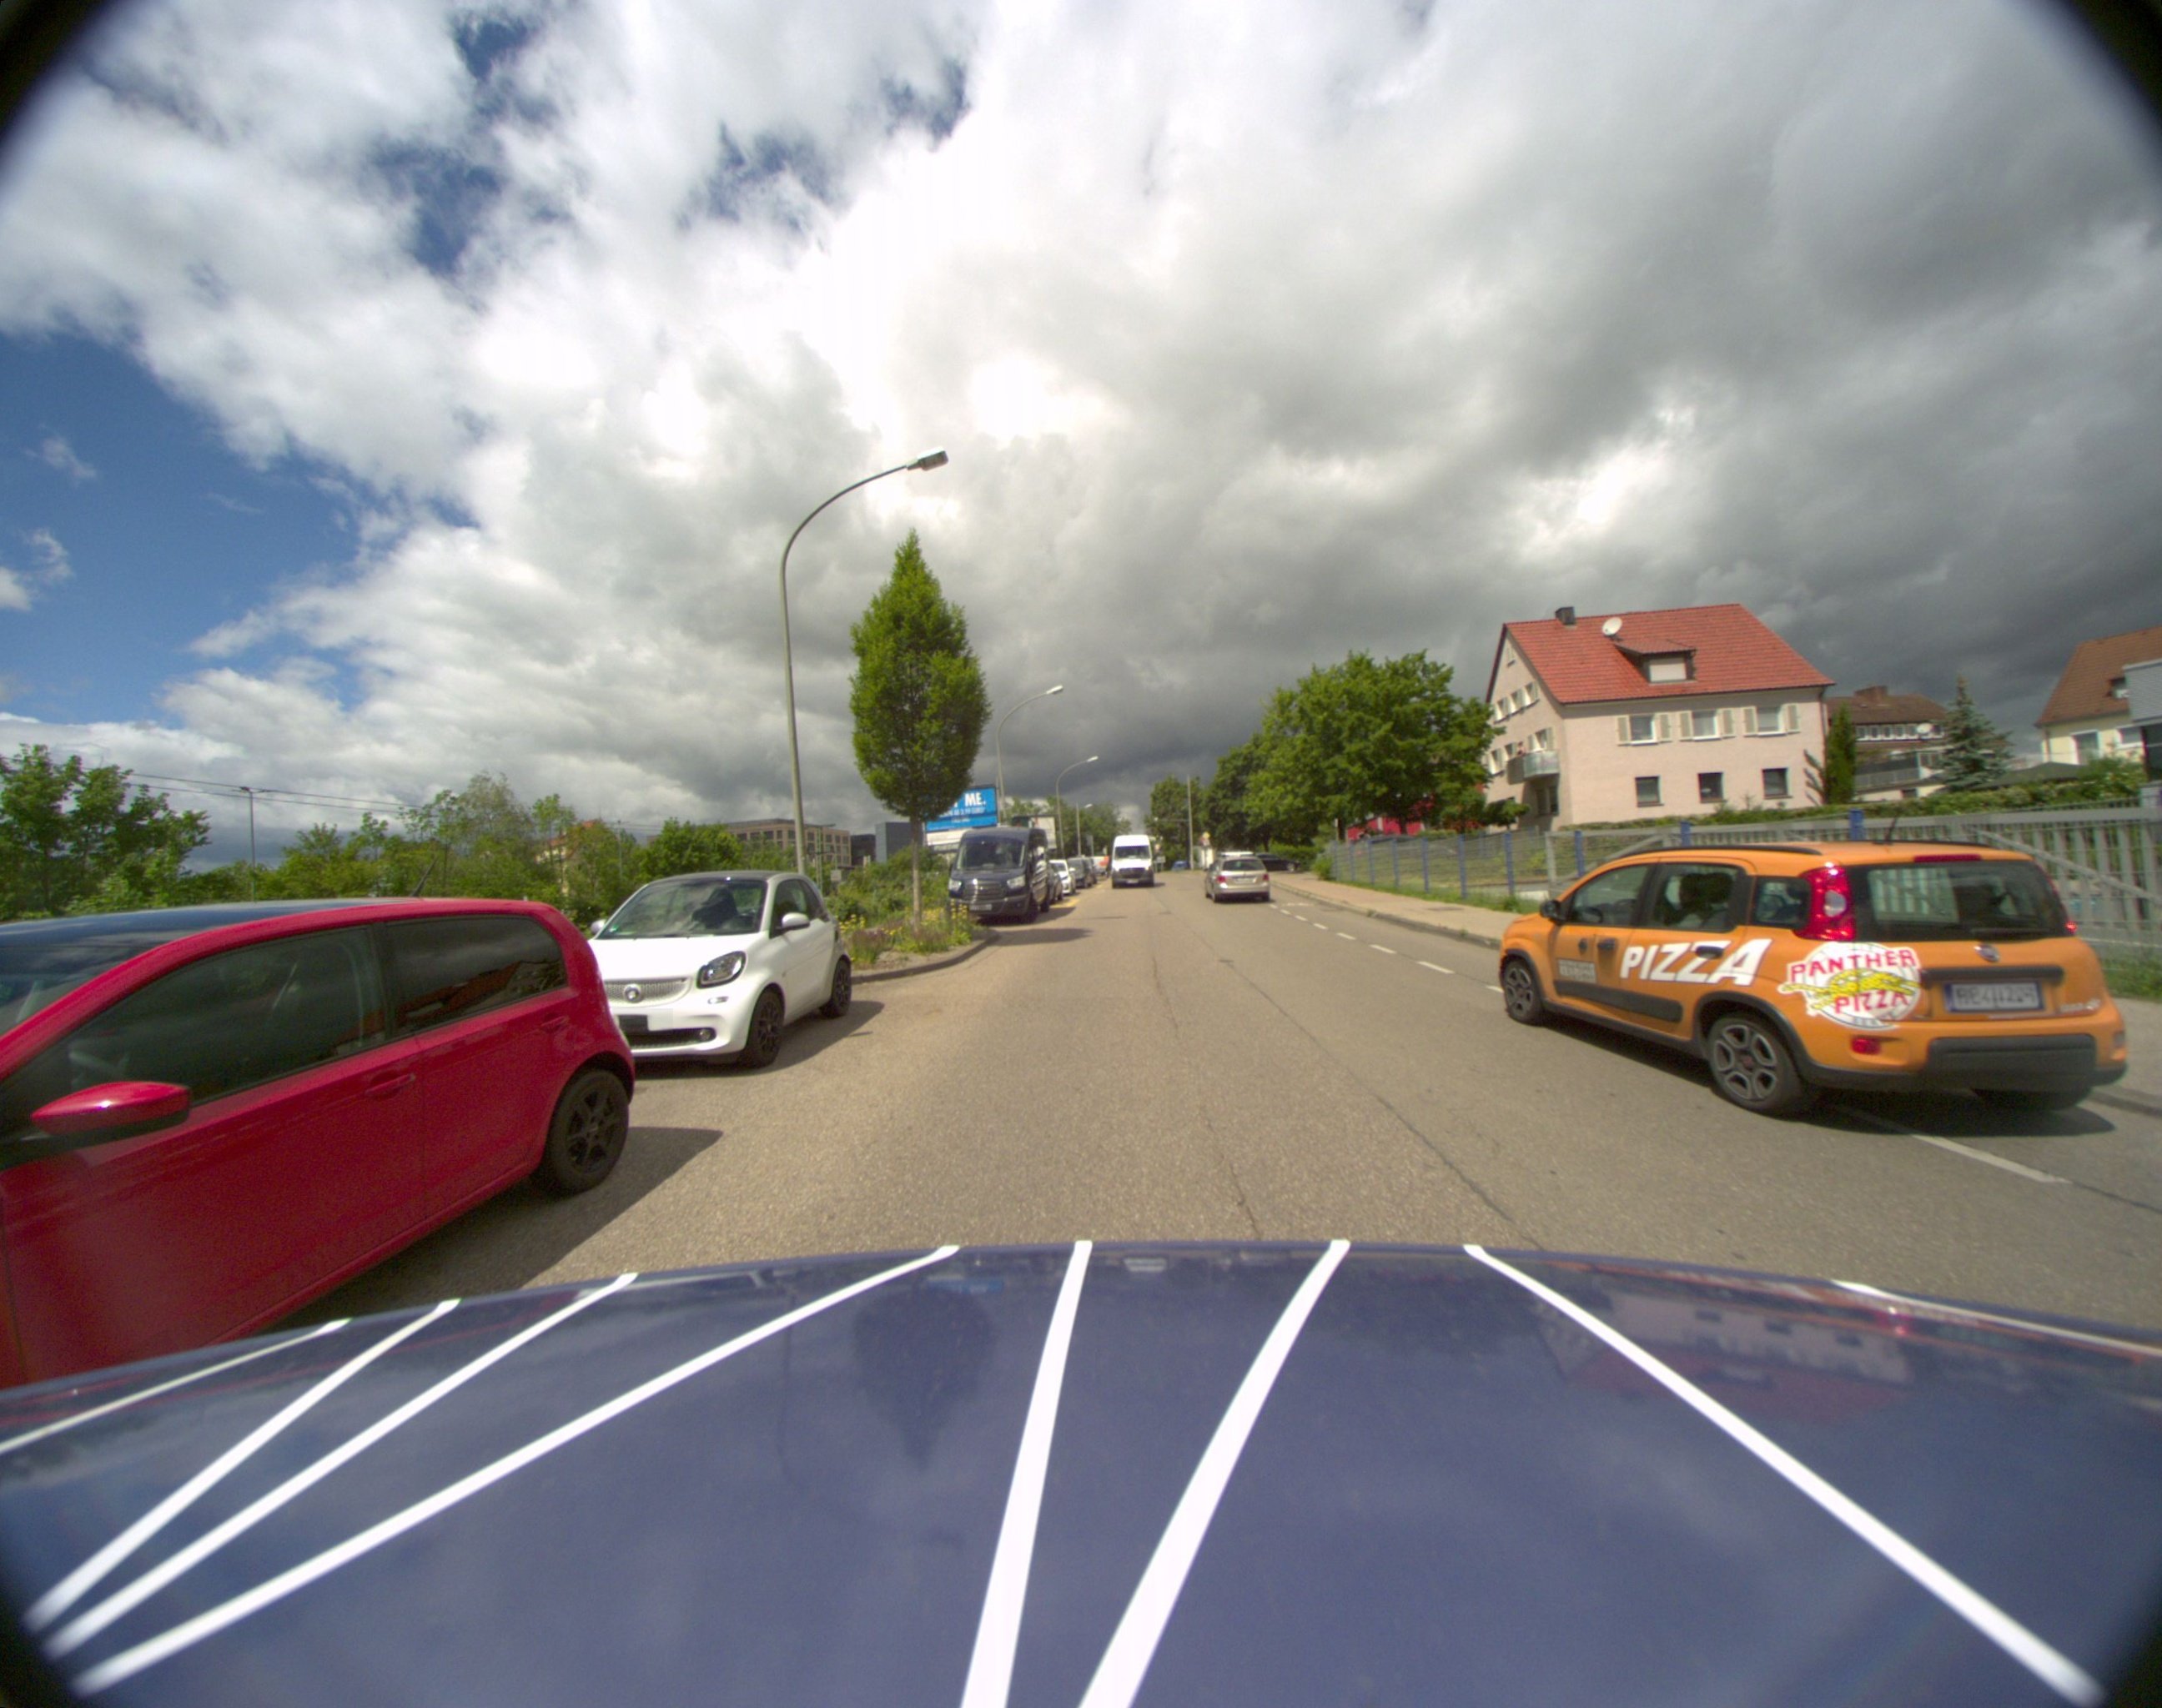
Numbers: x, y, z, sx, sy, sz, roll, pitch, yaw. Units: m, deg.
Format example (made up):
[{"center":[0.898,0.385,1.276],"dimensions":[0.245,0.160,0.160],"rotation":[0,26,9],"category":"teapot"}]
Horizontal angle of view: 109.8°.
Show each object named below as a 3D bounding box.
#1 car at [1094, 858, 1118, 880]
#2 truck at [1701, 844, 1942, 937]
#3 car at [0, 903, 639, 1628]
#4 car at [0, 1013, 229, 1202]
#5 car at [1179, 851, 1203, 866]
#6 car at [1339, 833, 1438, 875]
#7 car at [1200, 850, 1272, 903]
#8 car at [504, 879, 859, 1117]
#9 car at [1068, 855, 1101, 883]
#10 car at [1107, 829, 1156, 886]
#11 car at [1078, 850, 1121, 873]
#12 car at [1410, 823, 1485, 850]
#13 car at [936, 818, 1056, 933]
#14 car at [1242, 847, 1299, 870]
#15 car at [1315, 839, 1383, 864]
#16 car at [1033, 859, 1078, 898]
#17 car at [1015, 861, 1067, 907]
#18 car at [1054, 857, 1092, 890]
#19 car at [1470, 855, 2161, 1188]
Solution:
[{"center":[1.841,1.129,57.516],"dimensions":[1.585,1.497,3.957],"rotation":[-2,0,-1],"category":"car"},{"center":[24.843,1.065,26.029],"dimensions":[2.321,2.716,6.596],"rotation":[-2,1,7],"category":"truck"},{"center":[-3.243,1.039,2.323],"dimensions":[1.597,1.473,3.500],"rotation":[-3,0,1],"category":"car"},{"center":[-10.798,2.530,6.442],"dimensions":[1.820,1.343,4.556],"rotation":[-2,0,3],"category":"car"},{"center":[15.781,0.585,108.624],"dimensions":[1.957,1.958,5.139],"rotation":[-2,1,26],"category":"car"},{"center":[14.325,0.010,35.528],"dimensions":[3.954,1.766,1.523],"rotation":[-2,1,0],"category":"car"},{"center":[4.968,0.661,24.844],"dimensions":[1.646,1.523,4.222],"rotation":[-2,0,3],"category":"car"},{"center":[-3.232,1.068,6.793],"dimensions":[1.597,1.514,2.858],"rotation":[-3,0,0],"category":"car"},{"center":[0.255,0.834,44.767],"dimensions":[1.584,1.497,3.958],"rotation":[-2,0,4],"category":"car"},{"center":[2.647,0.136,38.446],"dimensions":[2.081,2.576,6.065],"rotation":[-2,1,6],"category":"car"},{"center":[2.260,0.896,93.548],"dimensions":[5.140,2.576,1.957],"rotation":[-3,1,-38],"category":"car"},{"center":[23.443,-1.106,48.745],"dimensions":[4.015,1.497,1.587],"rotation":[-2,1,7],"category":"car"},{"center":[-2.046,0.478,20.319],"dimensions":[2.059,2.579,5.736],"rotation":[-2,0,4],"category":"car"},{"center":[13.822,0.325,55.591],"dimensions":[3.854,1.497,1.587],"rotation":[-2,1,7],"category":"car"},{"center":[17.427,-0.166,49.501],"dimensions":[3.855,1.497,1.586],"rotation":[-2,1,4],"category":"car"},{"center":[-0.987,0.951,31.037],"dimensions":[1.401,1.424,3.446],"rotation":[-2,0,4],"category":"car"},{"center":[-1.354,1.007,26.801],"dimensions":[1.334,1.446,3.368],"rotation":[-2,0,4],"category":"car"},{"center":[-0.342,0.923,37.508],"dimensions":[1.522,1.446,3.958],"rotation":[-2,0,4],"category":"car"},{"center":[4.494,0.781,5.360],"dimensions":[1.605,1.482,3.681],"rotation":[-1,0,0],"category":"car"}]
